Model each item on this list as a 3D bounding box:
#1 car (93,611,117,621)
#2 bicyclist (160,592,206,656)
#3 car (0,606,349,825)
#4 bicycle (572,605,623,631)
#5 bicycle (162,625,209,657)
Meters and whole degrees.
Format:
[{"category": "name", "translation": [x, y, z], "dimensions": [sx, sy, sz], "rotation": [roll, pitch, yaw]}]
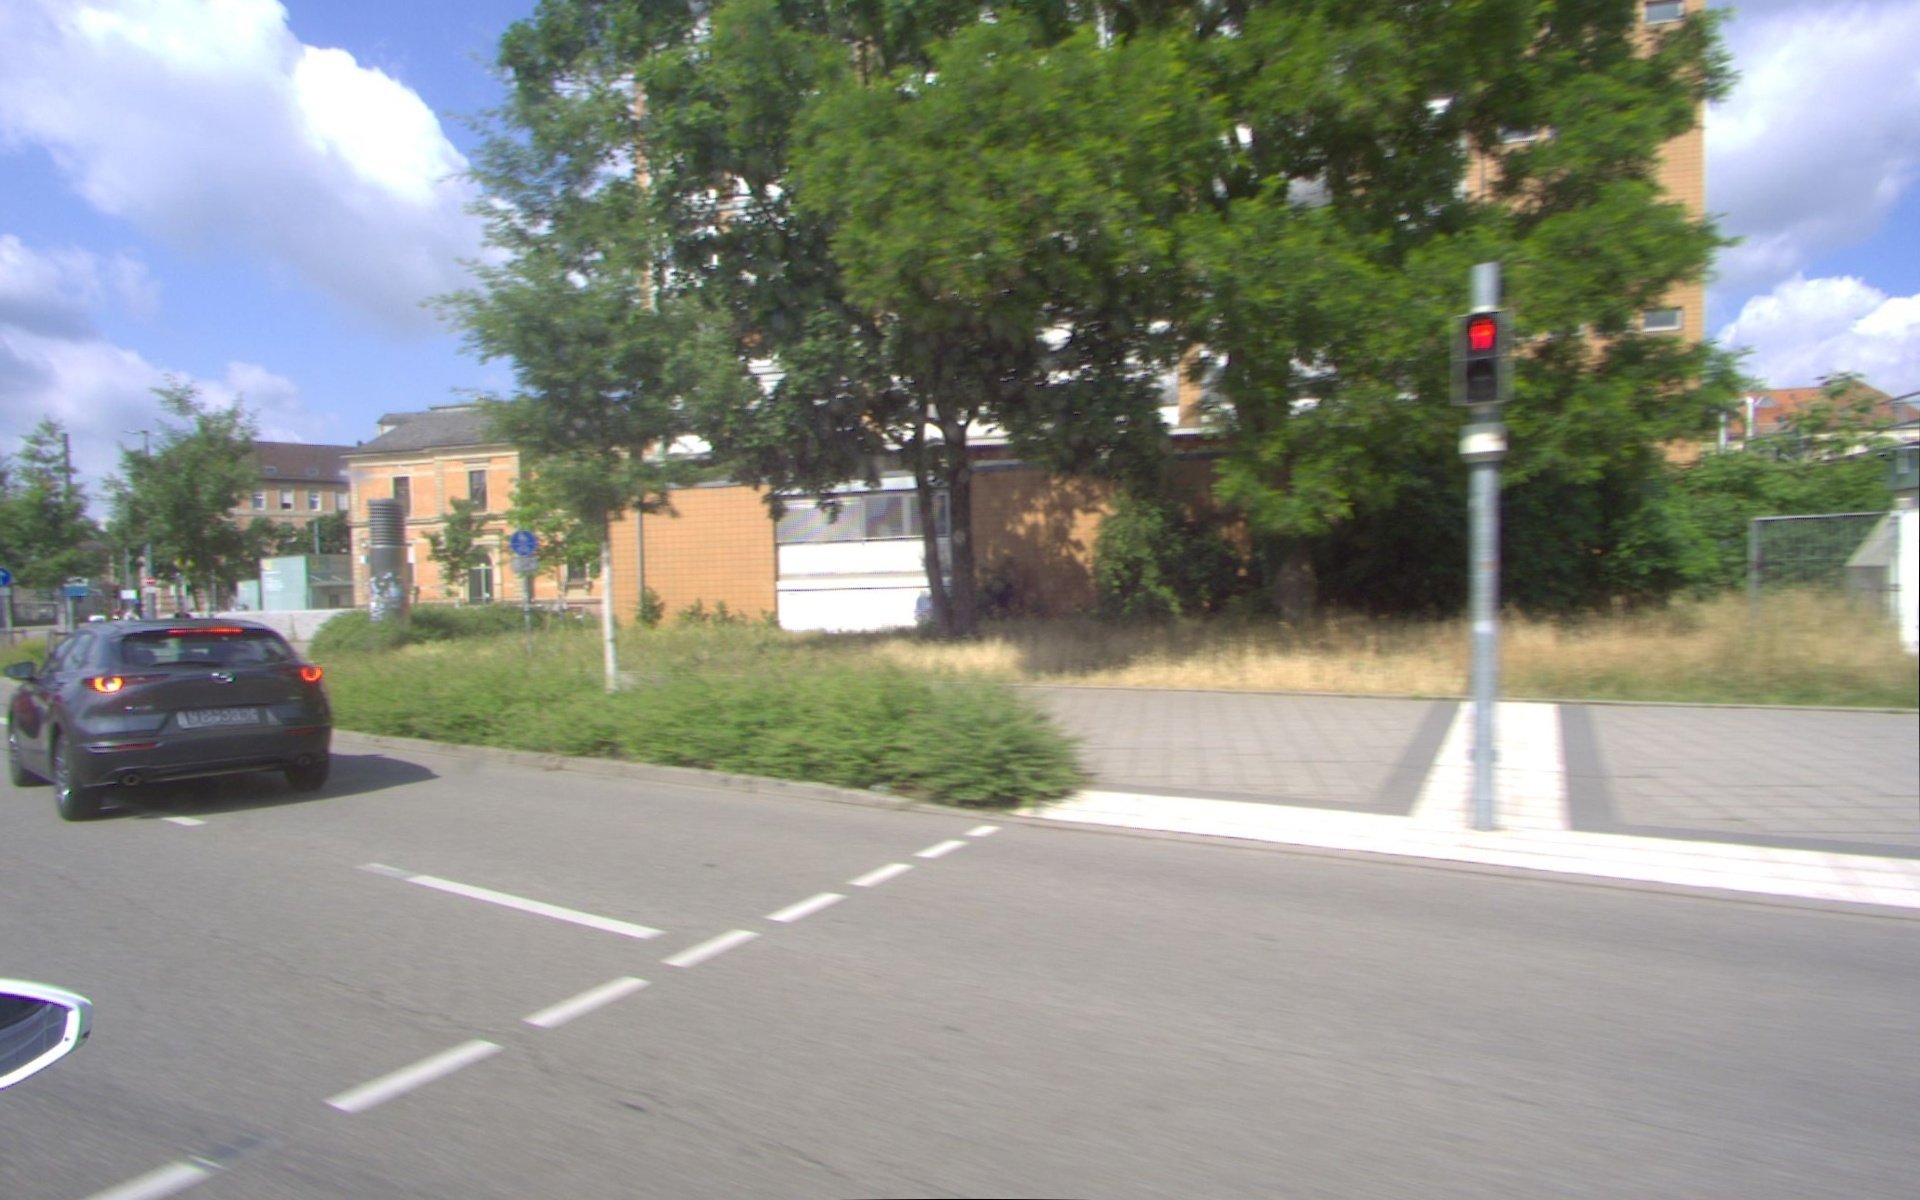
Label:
[{"category": "car", "translation": [-124.003, 2.283, 145.283], "dimensions": [1.972, 1.461, 3.977], "rotation": [-1, 0, -31]}, {"category": "bicyclist", "translation": [-21.671, 0.663, 27.922], "dimensions": [0.953, 1.725, 0.732], "rotation": [0, 3, 39]}, {"category": "car", "translation": [-7.329, 0.864, 9.039], "dimensions": [4.154, 1.527, 1.798], "rotation": [-2, -1, 39]}, {"category": "bicycle", "translation": [-16.203, 0.801, 44.740], "dimensions": [2.031, 1.087, 0.666], "rotation": [-1, 1, 5]}, {"category": "bicycle", "translation": [-21.543, 1.130, 27.842], "dimensions": [1.767, 0.822, 0.622], "rotation": [-1, 2, 39]}]
